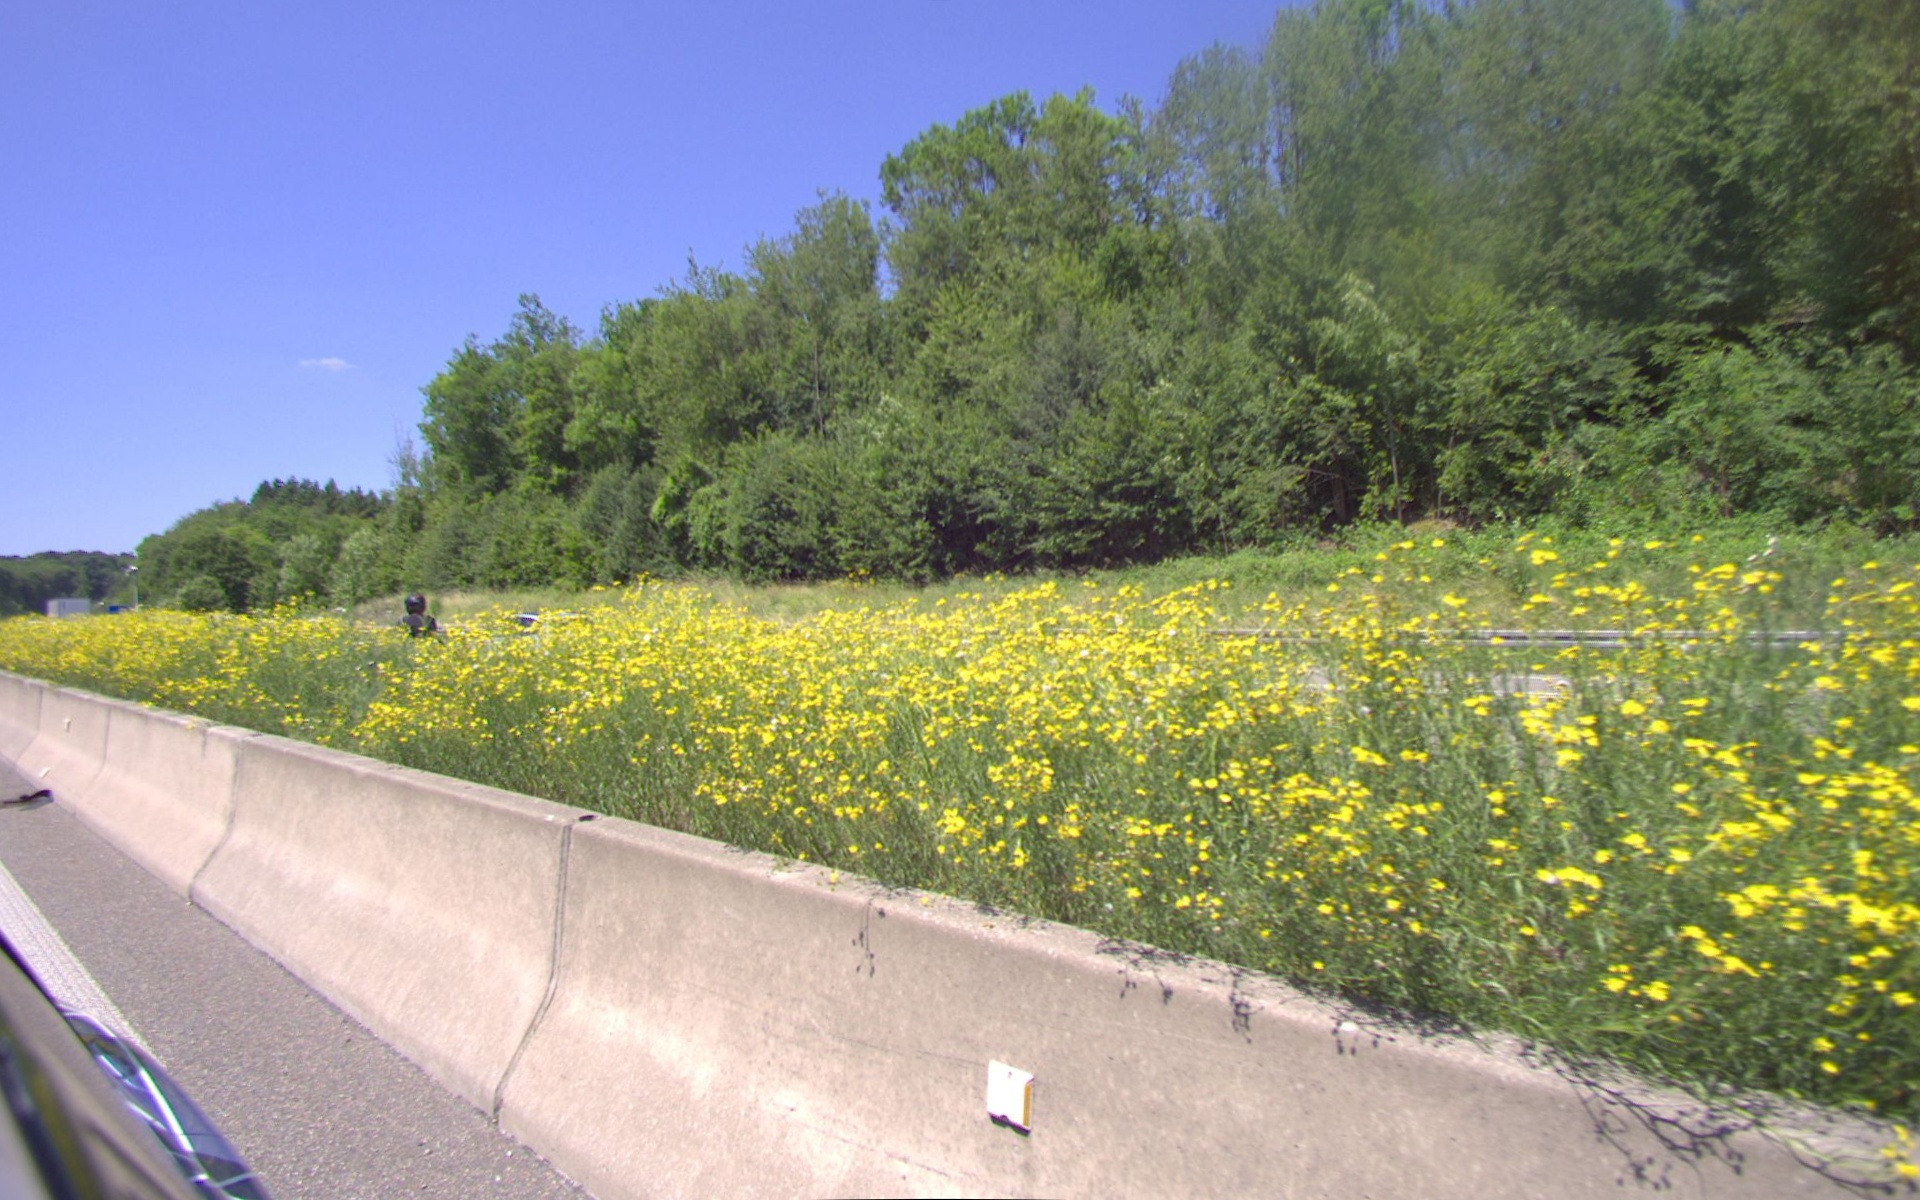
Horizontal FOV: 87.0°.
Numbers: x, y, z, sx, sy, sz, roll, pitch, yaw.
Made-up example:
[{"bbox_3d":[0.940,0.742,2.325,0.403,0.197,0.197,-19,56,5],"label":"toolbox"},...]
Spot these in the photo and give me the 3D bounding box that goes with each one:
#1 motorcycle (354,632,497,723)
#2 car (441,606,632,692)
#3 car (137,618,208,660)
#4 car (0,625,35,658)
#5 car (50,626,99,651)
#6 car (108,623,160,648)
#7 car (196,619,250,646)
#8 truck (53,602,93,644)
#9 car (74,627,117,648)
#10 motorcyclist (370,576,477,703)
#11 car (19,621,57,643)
[{"bbox_3d":[-8.057,1.107,15.185,2.612,1.224,1.030,-2,-1,41],"label":"motorcycle"},{"bbox_3d":[-8.593,0.931,20.379,4.355,1.533,1.820,-2,-1,41],"label":"car"},{"bbox_3d":[-35.184,1.730,45.155,4.146,1.747,1.719,-2,-1,41],"label":"car"},{"bbox_3d":[-47.006,2.035,49.863,3.998,1.510,1.718,-2,-1,41],"label":"car"},{"bbox_3d":[-59.299,2.546,67.732,4.063,1.584,1.973,-2,-1,41],"label":"car"},{"bbox_3d":[-53.245,2.275,65.223,4.005,1.455,1.973,-2,-1,41],"label":"car"},{"bbox_3d":[-49.711,2.200,68.207,4.765,1.705,1.973,-2,-1,41],"label":"car"},{"bbox_3d":[-90.512,2.356,103.168,2.795,3.968,13.761,-1,-1,-42],"label":"truck"},{"bbox_3d":[-66.411,2.845,77.711,3.998,1.503,1.973,-2,-1,41],"label":"car"},{"bbox_3d":[-8.055,0.577,15.197,1.283,1.799,1.021,-2,-1,41],"label":"motorcyclist"},{"bbox_3d":[-77.211,2.705,84.741,4.275,1.768,1.865,-2,-1,41],"label":"car"}]
